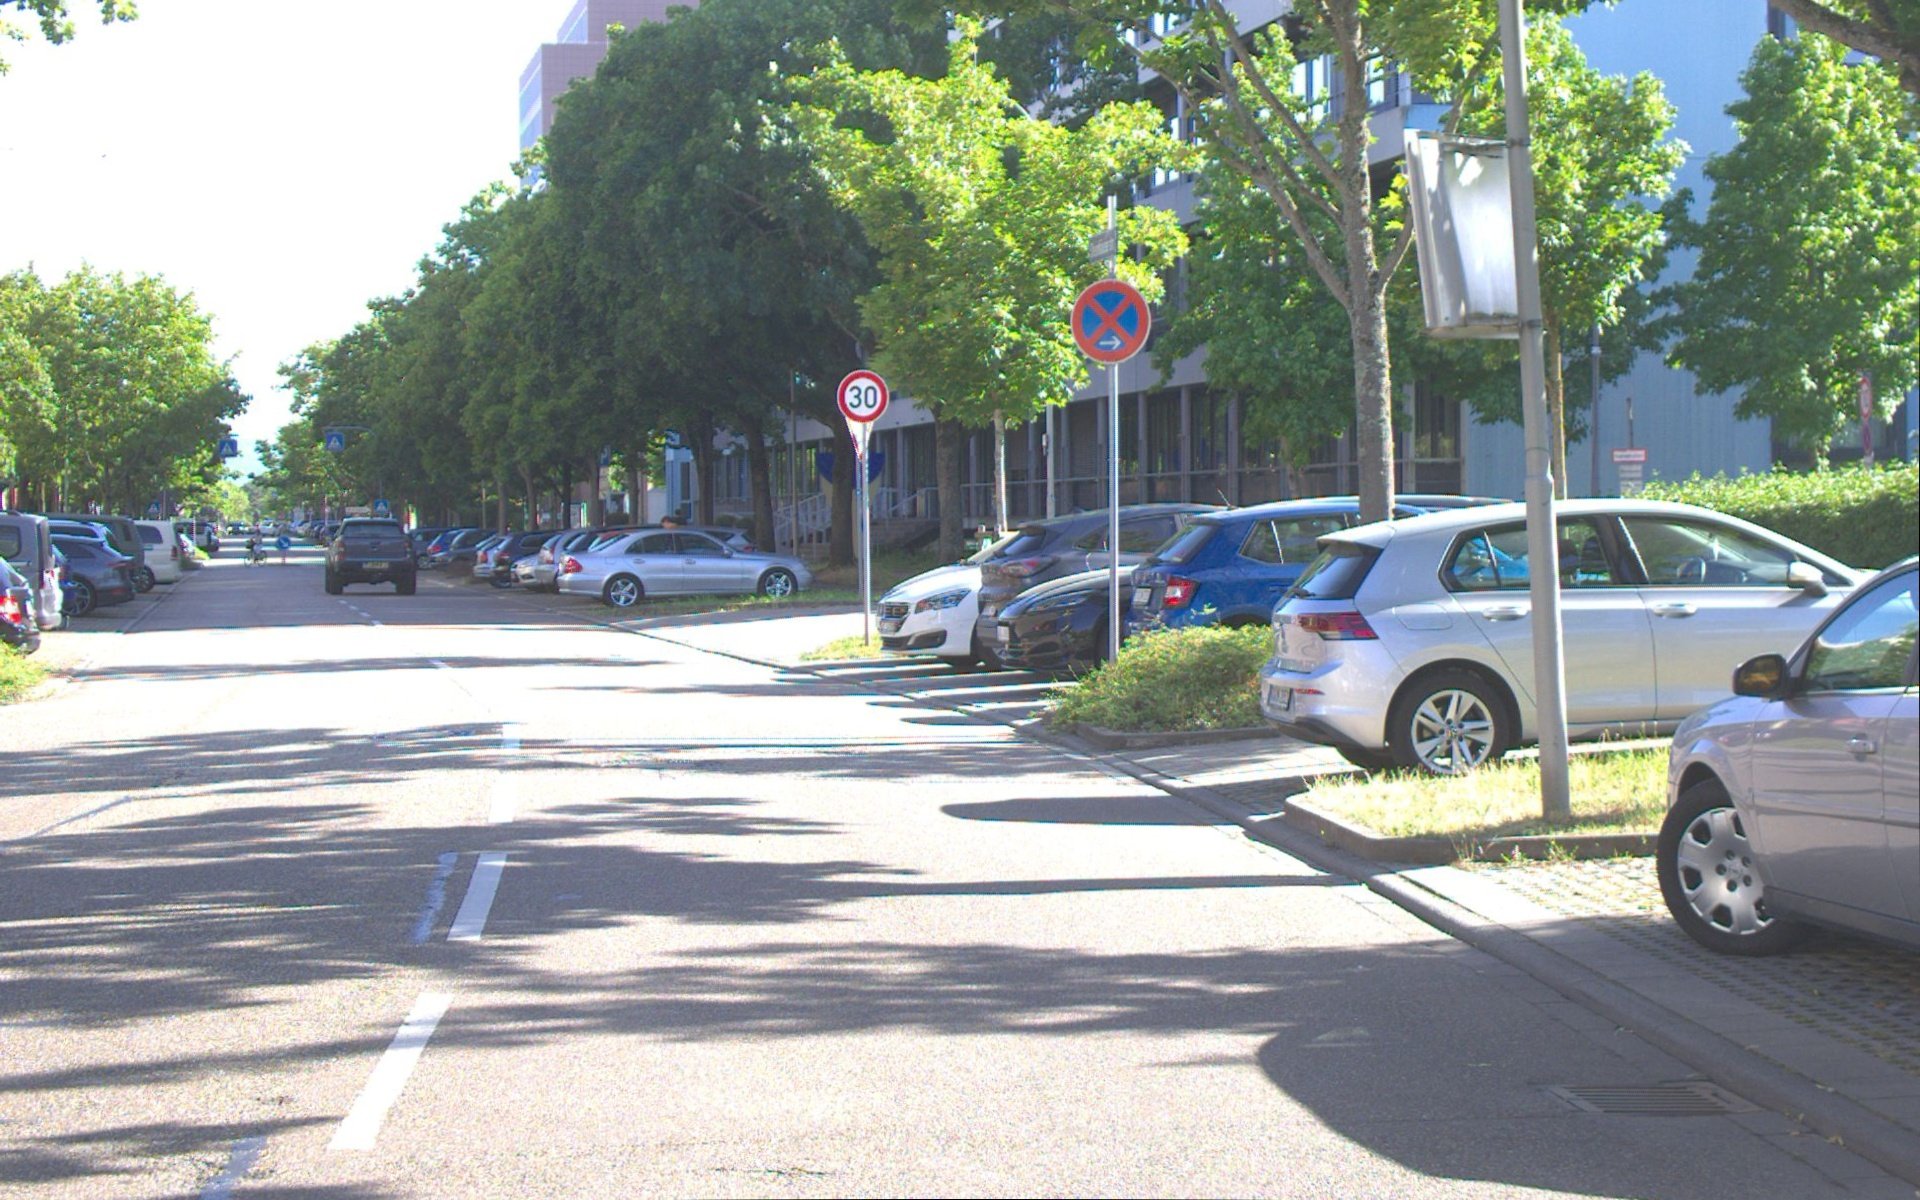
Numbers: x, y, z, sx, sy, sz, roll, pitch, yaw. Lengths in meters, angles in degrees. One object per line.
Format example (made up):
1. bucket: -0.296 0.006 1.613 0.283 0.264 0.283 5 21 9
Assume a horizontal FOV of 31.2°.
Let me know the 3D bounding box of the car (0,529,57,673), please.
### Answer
1. car: -11.400 -0.036 34.651 4.262 1.418 1.740 1 1 -8

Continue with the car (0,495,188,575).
1. car: -22.523 -1.672 88.157 5.256 1.960 1.943 1 1 -12

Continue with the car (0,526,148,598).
1. car: -18.779 -0.791 71.094 3.725 1.422 1.726 1 1 -17

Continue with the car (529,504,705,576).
1. car: -7.854 -1.380 78.638 3.742 1.488 1.617 -3 2 -15

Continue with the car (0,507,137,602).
1. car: -17.624 -0.866 63.896 4.320 1.711 1.963 1 1 -7

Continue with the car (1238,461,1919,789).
1. car: 3.724 0.086 18.751 4.088 1.424 1.643 -5 1 -4

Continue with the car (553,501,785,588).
1. car: -5.883 -1.126 69.228 4.514 1.537 1.922 -2 2 -8

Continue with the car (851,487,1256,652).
1. car: 0.991 -0.338 36.978 3.947 1.509 1.702 -4 1 -17

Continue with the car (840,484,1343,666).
1. car: 1.298 -0.269 34.377 4.548 1.509 1.983 -4 1 -17

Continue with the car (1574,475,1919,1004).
1. car: 3.533 0.351 10.458 1.808 1.488 4.625 -4 2 -9

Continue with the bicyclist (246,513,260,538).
1. bicyclist: -31.462 -3.315 153.019 0.532 1.087 0.795 -1 1 -9

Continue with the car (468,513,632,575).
1. car: -10.574 -1.451 88.541 3.968 1.415 1.711 -3 2 -13

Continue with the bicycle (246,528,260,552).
1. bicycle: -31.457 -2.681 153.053 0.532 1.068 1.300 -1 2 -9

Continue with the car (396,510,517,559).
1. car: -19.386 -2.510 132.300 4.350 1.698 1.813 -3 2 -14

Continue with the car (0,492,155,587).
1. car: -20.717 -1.397 78.339 4.487 2.082 2.083 1 1 -9

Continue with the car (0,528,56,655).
1. car: -12.405 -0.132 39.318 3.890 1.418 1.740 1 1 -11

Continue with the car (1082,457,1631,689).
1. car: 3.042 -0.224 26.744 3.804 1.443 1.745 -5 1 -9

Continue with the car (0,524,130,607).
1. car: -17.073 -0.634 61.312 4.401 1.422 1.773 1 1 -13

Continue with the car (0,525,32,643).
1. car: -13.392 -0.234 41.905 3.890 1.418 1.740 1 1 -11

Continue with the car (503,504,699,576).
1. car: -8.466 -1.416 80.969 4.284 1.488 2.005 -3 2 -14

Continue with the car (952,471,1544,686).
1. car: 2.410 -0.204 29.380 4.548 1.509 2.159 -3 1 -11

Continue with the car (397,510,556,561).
1. car: -15.466 -2.072 109.956 4.823 1.415 2.033 -3 2 -13

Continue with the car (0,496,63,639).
1. car: -13.590 -0.455 44.121 3.890 1.805 1.786 1 1 -11

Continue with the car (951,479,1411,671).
1. car: 2.018 -0.244 31.904 3.874 1.509 1.751 -3 1 -11

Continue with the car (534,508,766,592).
1. car: -6.516 -1.056 72.065 4.514 1.537 1.922 -3 2 -15

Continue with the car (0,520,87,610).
1. car: -16.246 -0.601 56.271 3.725 1.422 1.841 1 1 -12

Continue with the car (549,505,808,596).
1. car: -5.250 -0.931 63.875 4.577 1.470 1.747 -3 2 -11

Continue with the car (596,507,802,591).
1. car: -5.102 -1.004 66.872 3.837 1.442 1.922 -2 2 -8

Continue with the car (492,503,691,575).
1. car: -8.976 -1.484 83.543 4.590 1.488 1.763 -3 2 -12

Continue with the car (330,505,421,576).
1. car: -14.057 -1.434 82.536 1.993 1.634 4.001 1 1 -12

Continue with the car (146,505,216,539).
1. car: -48.263 -4.823 213.046 3.986 2.007 2.001 -1 1 -7
